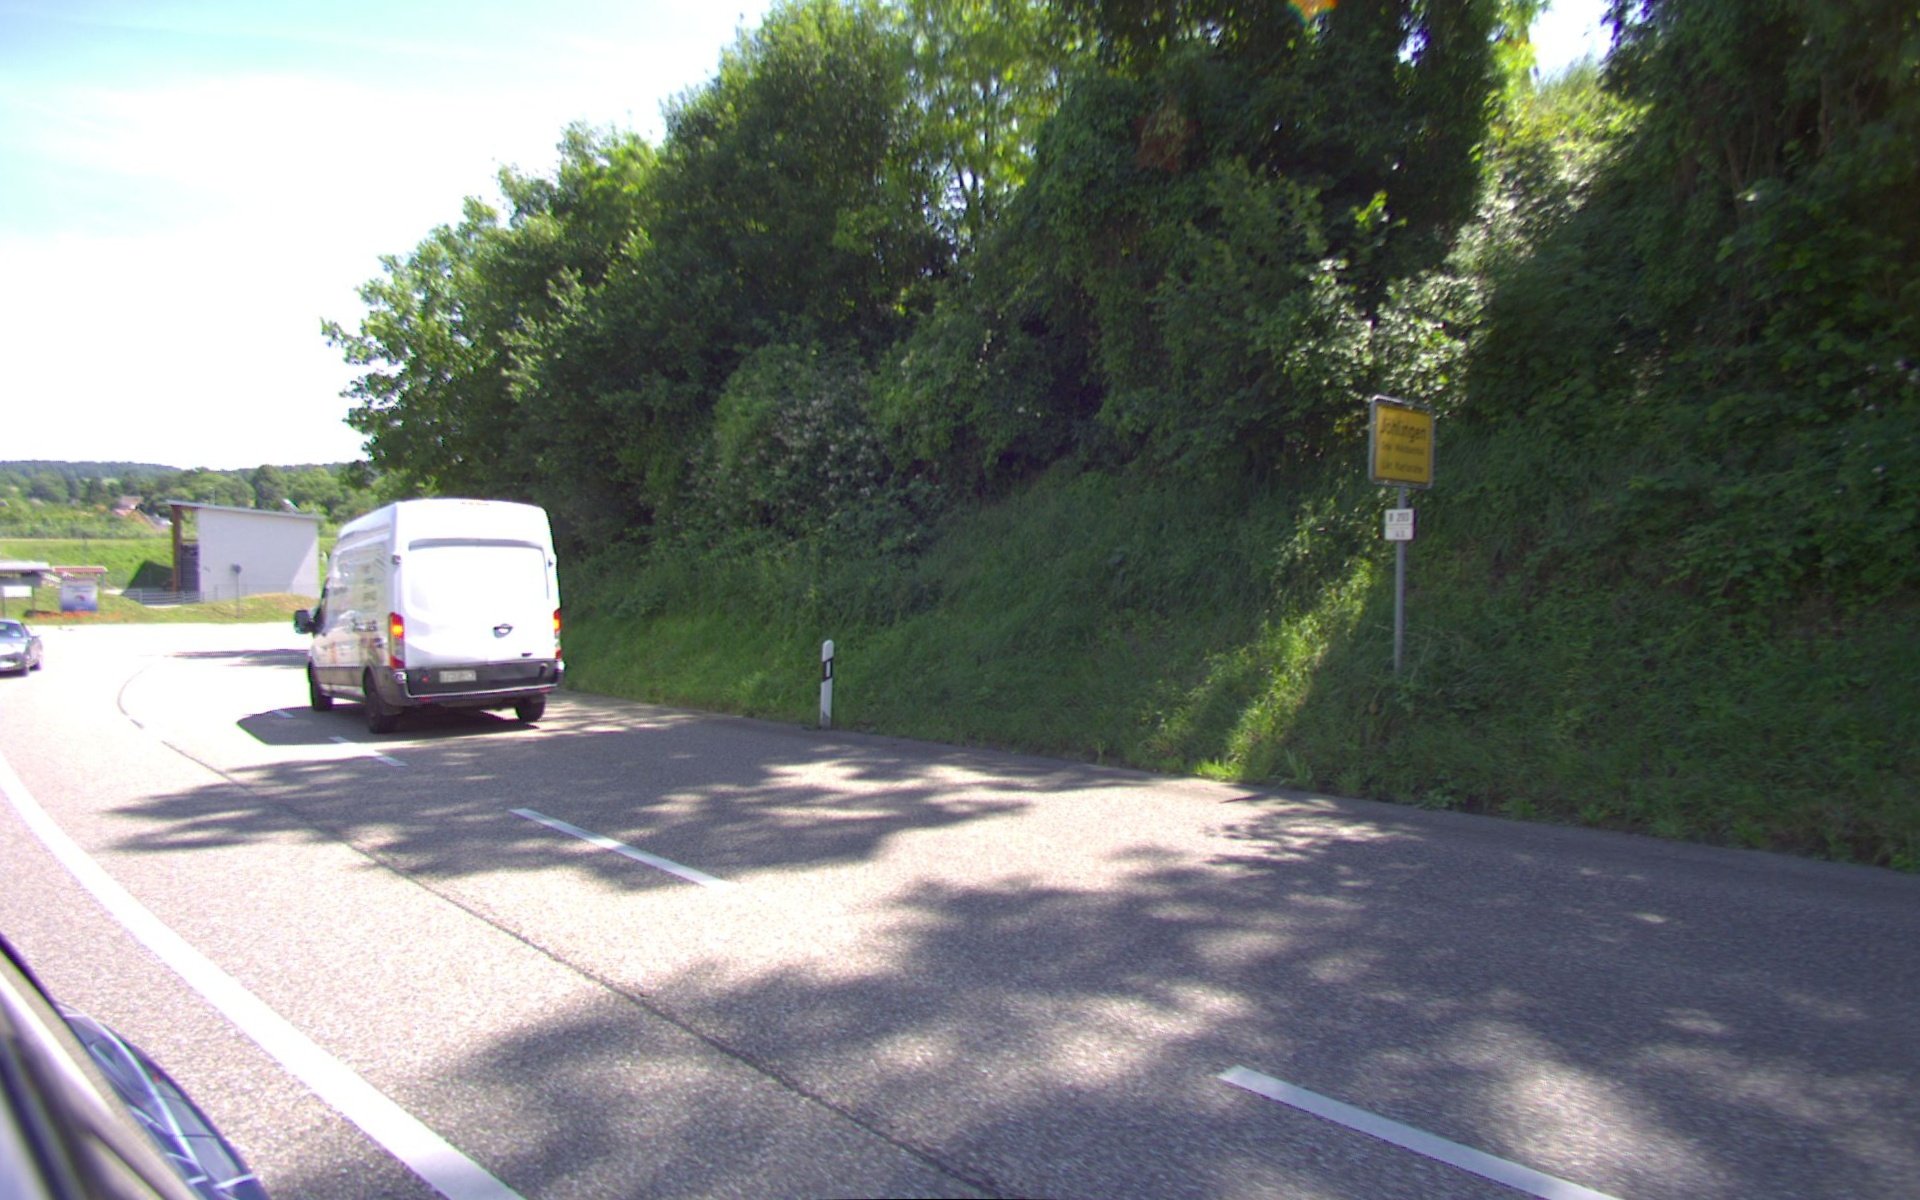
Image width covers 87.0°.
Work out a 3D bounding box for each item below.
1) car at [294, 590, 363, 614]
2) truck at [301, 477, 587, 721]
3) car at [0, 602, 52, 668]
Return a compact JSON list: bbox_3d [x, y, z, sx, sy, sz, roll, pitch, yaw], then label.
[{"bbox_3d":[-36.491,0.143,58.582,1.729,1.298,4.151,1,0,-6],"label":"car"},{"bbox_3d":[-7.425,-0.030,14.138,2.028,2.707,5.988,-2,1,-42],"label":"truck"},{"bbox_3d":[-21.462,0.755,22.458,1.622,1.332,3.446,-2,1,-37],"label":"car"}]
